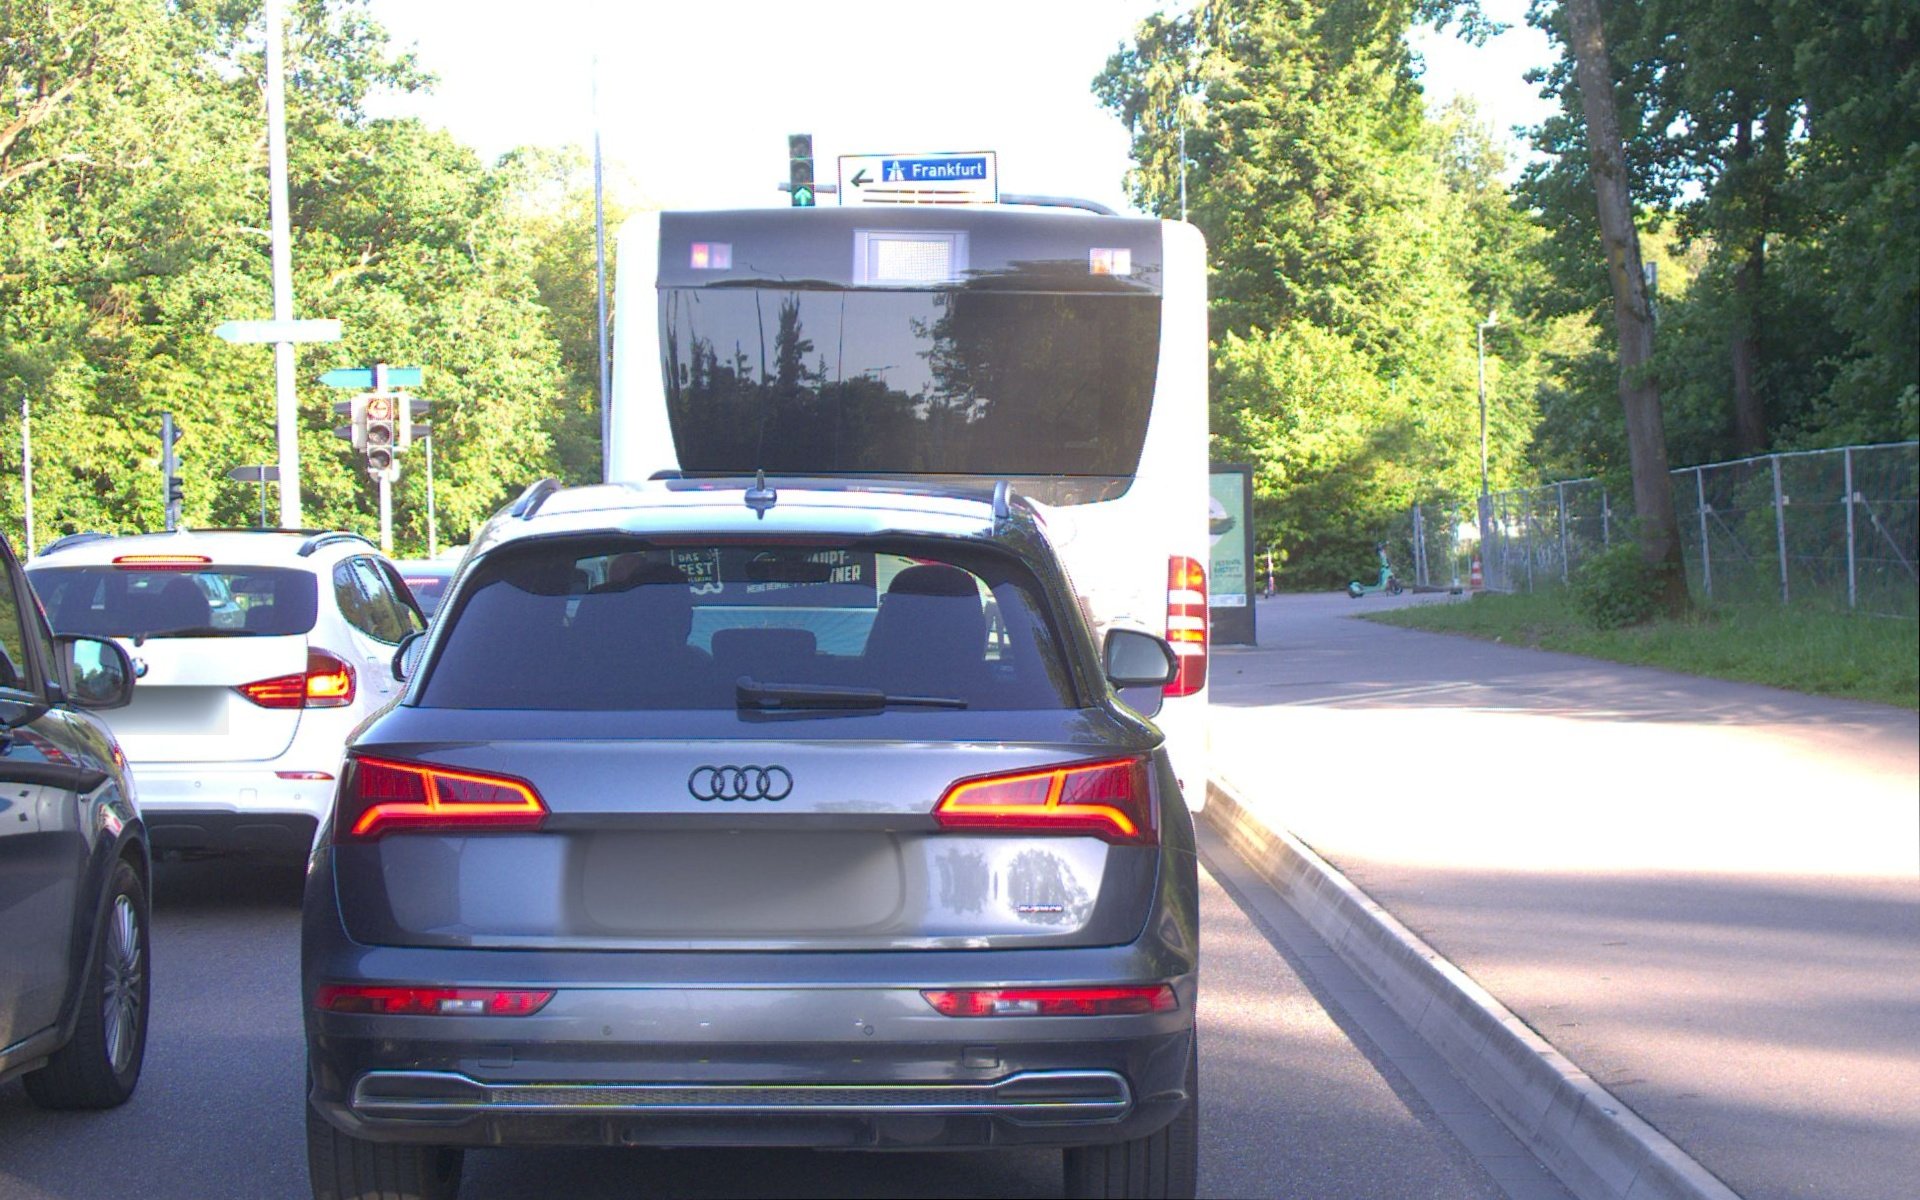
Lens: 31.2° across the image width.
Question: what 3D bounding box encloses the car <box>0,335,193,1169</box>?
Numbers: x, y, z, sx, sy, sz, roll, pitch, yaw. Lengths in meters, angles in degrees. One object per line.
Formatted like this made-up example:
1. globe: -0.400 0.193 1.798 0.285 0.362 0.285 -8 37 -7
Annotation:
1. car: -3.069 0.335 7.189 1.907 1.849 4.873 1 1 -1

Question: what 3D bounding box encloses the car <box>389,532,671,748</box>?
1. car: -3.387 0.260 27.741 1.808 1.567 4.000 1 2 -1

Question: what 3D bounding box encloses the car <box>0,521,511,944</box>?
1. car: -3.114 0.455 15.175 1.718 1.575 4.434 1 1 -1

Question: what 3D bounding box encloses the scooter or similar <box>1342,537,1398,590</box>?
1. scooter or similar: 9.312 -0.839 78.059 1.184 1.170 0.659 1 1 11

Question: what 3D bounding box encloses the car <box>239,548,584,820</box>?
1. car: -3.286 0.442 21.282 1.785 1.439 4.279 1 2 -5

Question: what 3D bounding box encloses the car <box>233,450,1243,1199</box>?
1. car: -0.439 0.507 8.423 1.868 1.658 4.000 1 2 -1

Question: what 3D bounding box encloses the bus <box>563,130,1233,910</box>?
1. bus: -0.223 -0.404 16.897 2.678 3.131 5.882 1 2 1
